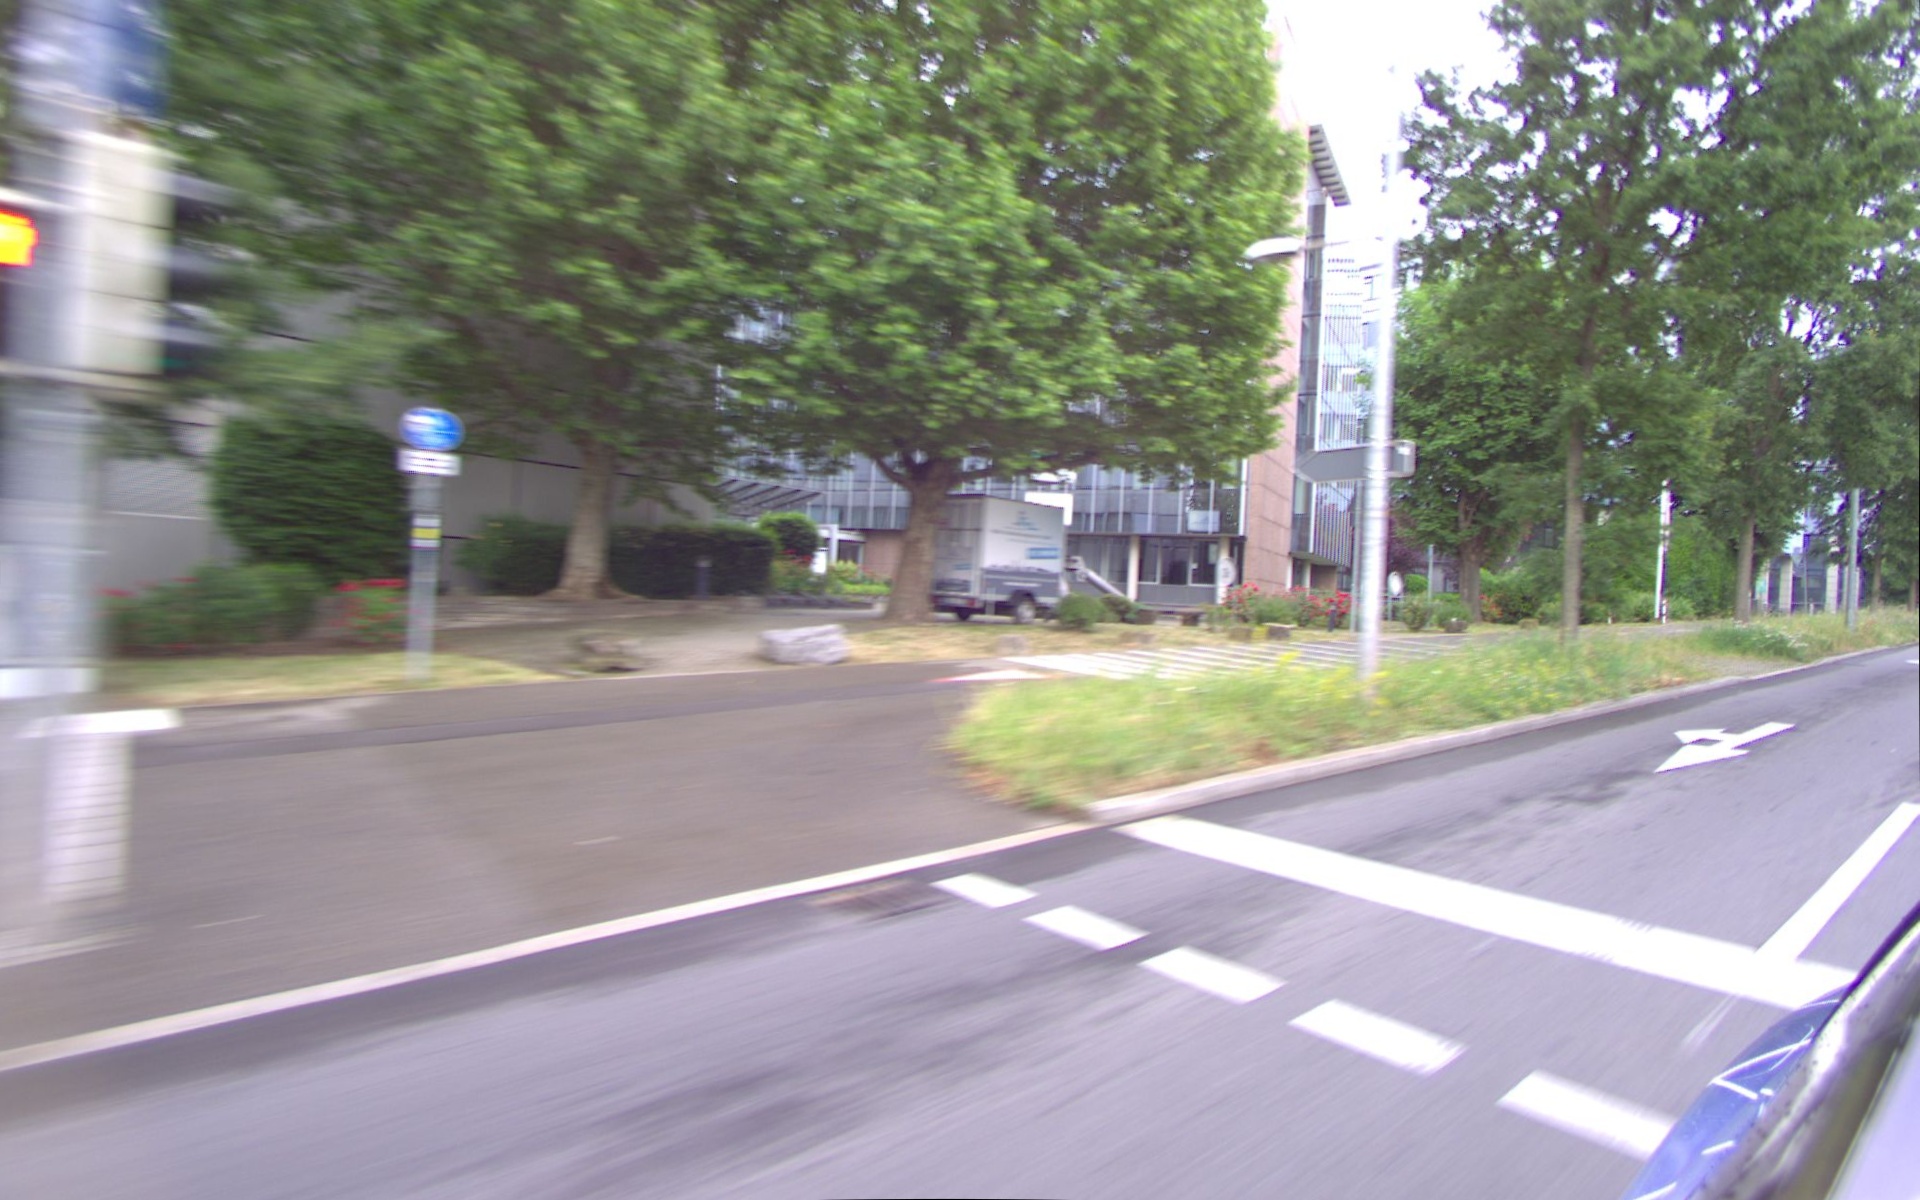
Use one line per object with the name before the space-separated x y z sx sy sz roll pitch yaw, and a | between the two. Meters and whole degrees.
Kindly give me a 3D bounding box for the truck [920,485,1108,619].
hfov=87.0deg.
truck | 1.202 -0.932 21.215 3.934 2.549 1.747 -1 0 -44
